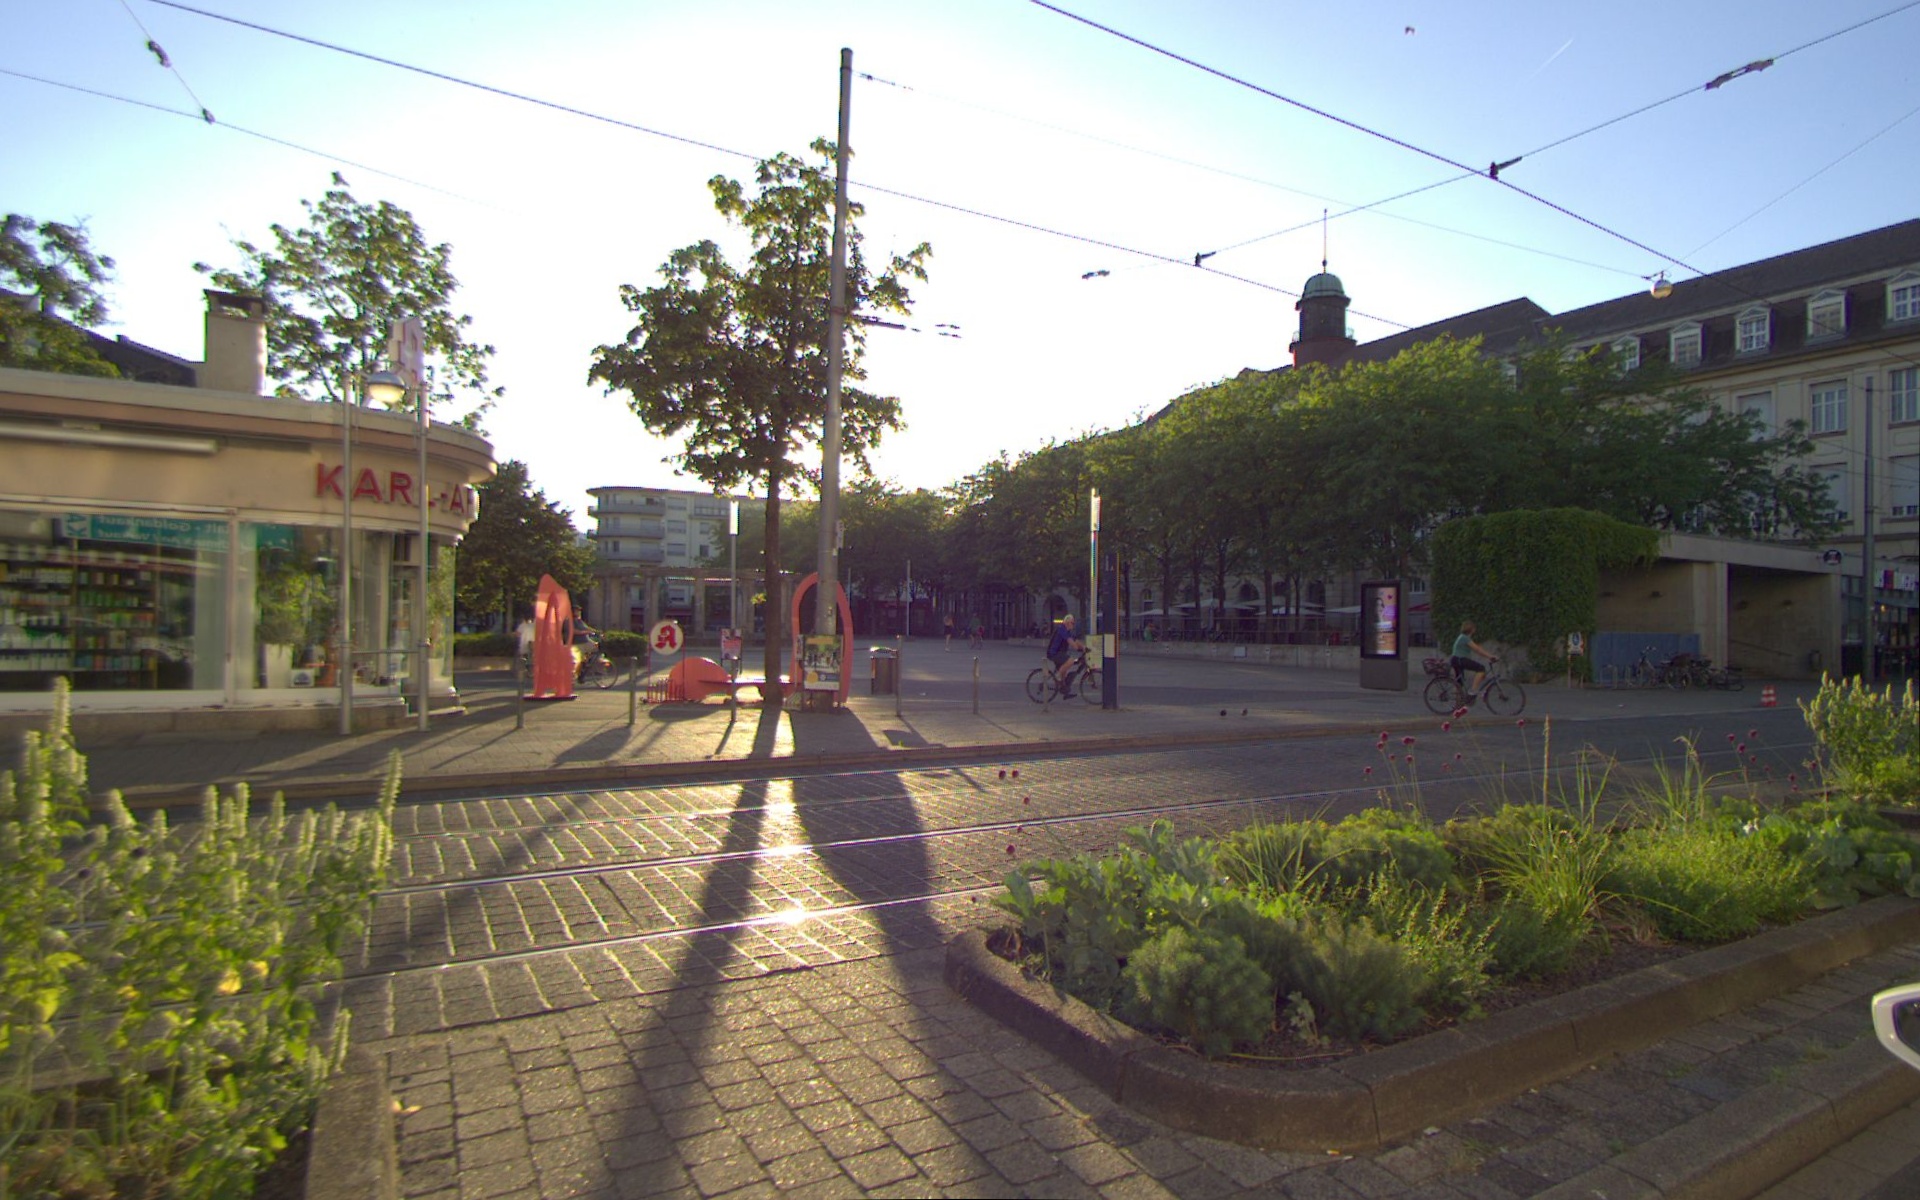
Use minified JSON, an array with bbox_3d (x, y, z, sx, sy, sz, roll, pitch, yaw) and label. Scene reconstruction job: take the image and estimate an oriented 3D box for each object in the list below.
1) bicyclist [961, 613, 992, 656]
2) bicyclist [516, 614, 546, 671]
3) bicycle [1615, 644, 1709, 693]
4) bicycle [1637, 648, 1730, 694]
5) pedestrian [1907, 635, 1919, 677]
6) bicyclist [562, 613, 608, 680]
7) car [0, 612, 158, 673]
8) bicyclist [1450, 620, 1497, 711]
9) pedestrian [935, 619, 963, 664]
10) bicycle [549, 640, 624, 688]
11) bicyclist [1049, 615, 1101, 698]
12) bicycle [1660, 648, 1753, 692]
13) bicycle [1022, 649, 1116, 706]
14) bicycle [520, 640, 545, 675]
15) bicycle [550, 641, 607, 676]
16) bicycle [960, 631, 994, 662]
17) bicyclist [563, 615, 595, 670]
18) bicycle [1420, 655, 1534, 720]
[{"bbox_3d":[0.828,1.712,49.999,1.130,2.044,0.954,4,-3,-31],"label":"bicyclist"},{"bbox_3d":[-11.872,1.170,27.784,0.669,1.540,0.652,2,-1,-29],"label":"bicyclist"},{"bbox_3d":[20.218,1.969,28.975,0.573,1.317,2.187,4,-3,-29],"label":"bicycle"},{"bbox_3d":[21.457,2.080,29.843,0.573,1.271,2.231,4,-3,-29],"label":"bicycle"},{"bbox_3d":[38.903,2.269,40.688,0.705,1.667,0.657,1,-1,38],"label":"pedestrian"},{"bbox_3d":[-9.152,1.140,24.514,0.688,1.597,0.755,1,-3,12],"label":"bicyclist"},{"bbox_3d":[-23.441,1.081,25.864,4.212,1.427,1.643,4,-3,-37],"label":"car"},{"bbox_3d":[9.847,1.256,19.284,0.691,1.690,0.628,1,-3,20],"label":"bicyclist"},{"bbox_3d":[-0.515,1.936,47.337,0.922,2.088,0.931,1,-1,-35],"label":"pedestrian"},{"bbox_3d":[-9.079,1.547,24.440,1.676,1.126,0.496,0,-3,12],"label":"bicycle"},{"bbox_3d":[2.368,1.150,20.576,0.788,1.632,0.738,1,-3,29],"label":"bicyclist"},{"bbox_3d":[22.830,2.131,30.771,0.578,1.248,2.231,2,-2,-29],"label":"bicycle"},{"bbox_3d":[2.228,1.575,20.613,1.893,1.126,0.460,-1,-3,29],"label":"bicycle"},{"bbox_3d":[-11.804,1.576,27.729,0.420,0.927,1.518,4,-3,-30],"label":"bicycle"},{"bbox_3d":[-10.885,1.671,28.688,1.400,0.927,0.425,2,-2,-1],"label":"bicycle"},{"bbox_3d":[0.816,2.315,49.949,0.573,1.495,2.230,3,-2,-31],"label":"bicycle"},{"bbox_3d":[-10.865,1.214,28.662,0.644,1.540,0.677,1,-1,-3],"label":"bicyclist"},{"bbox_3d":[9.867,1.660,19.227,1.898,1.126,0.461,1,-3,20],"label":"bicycle"}]
